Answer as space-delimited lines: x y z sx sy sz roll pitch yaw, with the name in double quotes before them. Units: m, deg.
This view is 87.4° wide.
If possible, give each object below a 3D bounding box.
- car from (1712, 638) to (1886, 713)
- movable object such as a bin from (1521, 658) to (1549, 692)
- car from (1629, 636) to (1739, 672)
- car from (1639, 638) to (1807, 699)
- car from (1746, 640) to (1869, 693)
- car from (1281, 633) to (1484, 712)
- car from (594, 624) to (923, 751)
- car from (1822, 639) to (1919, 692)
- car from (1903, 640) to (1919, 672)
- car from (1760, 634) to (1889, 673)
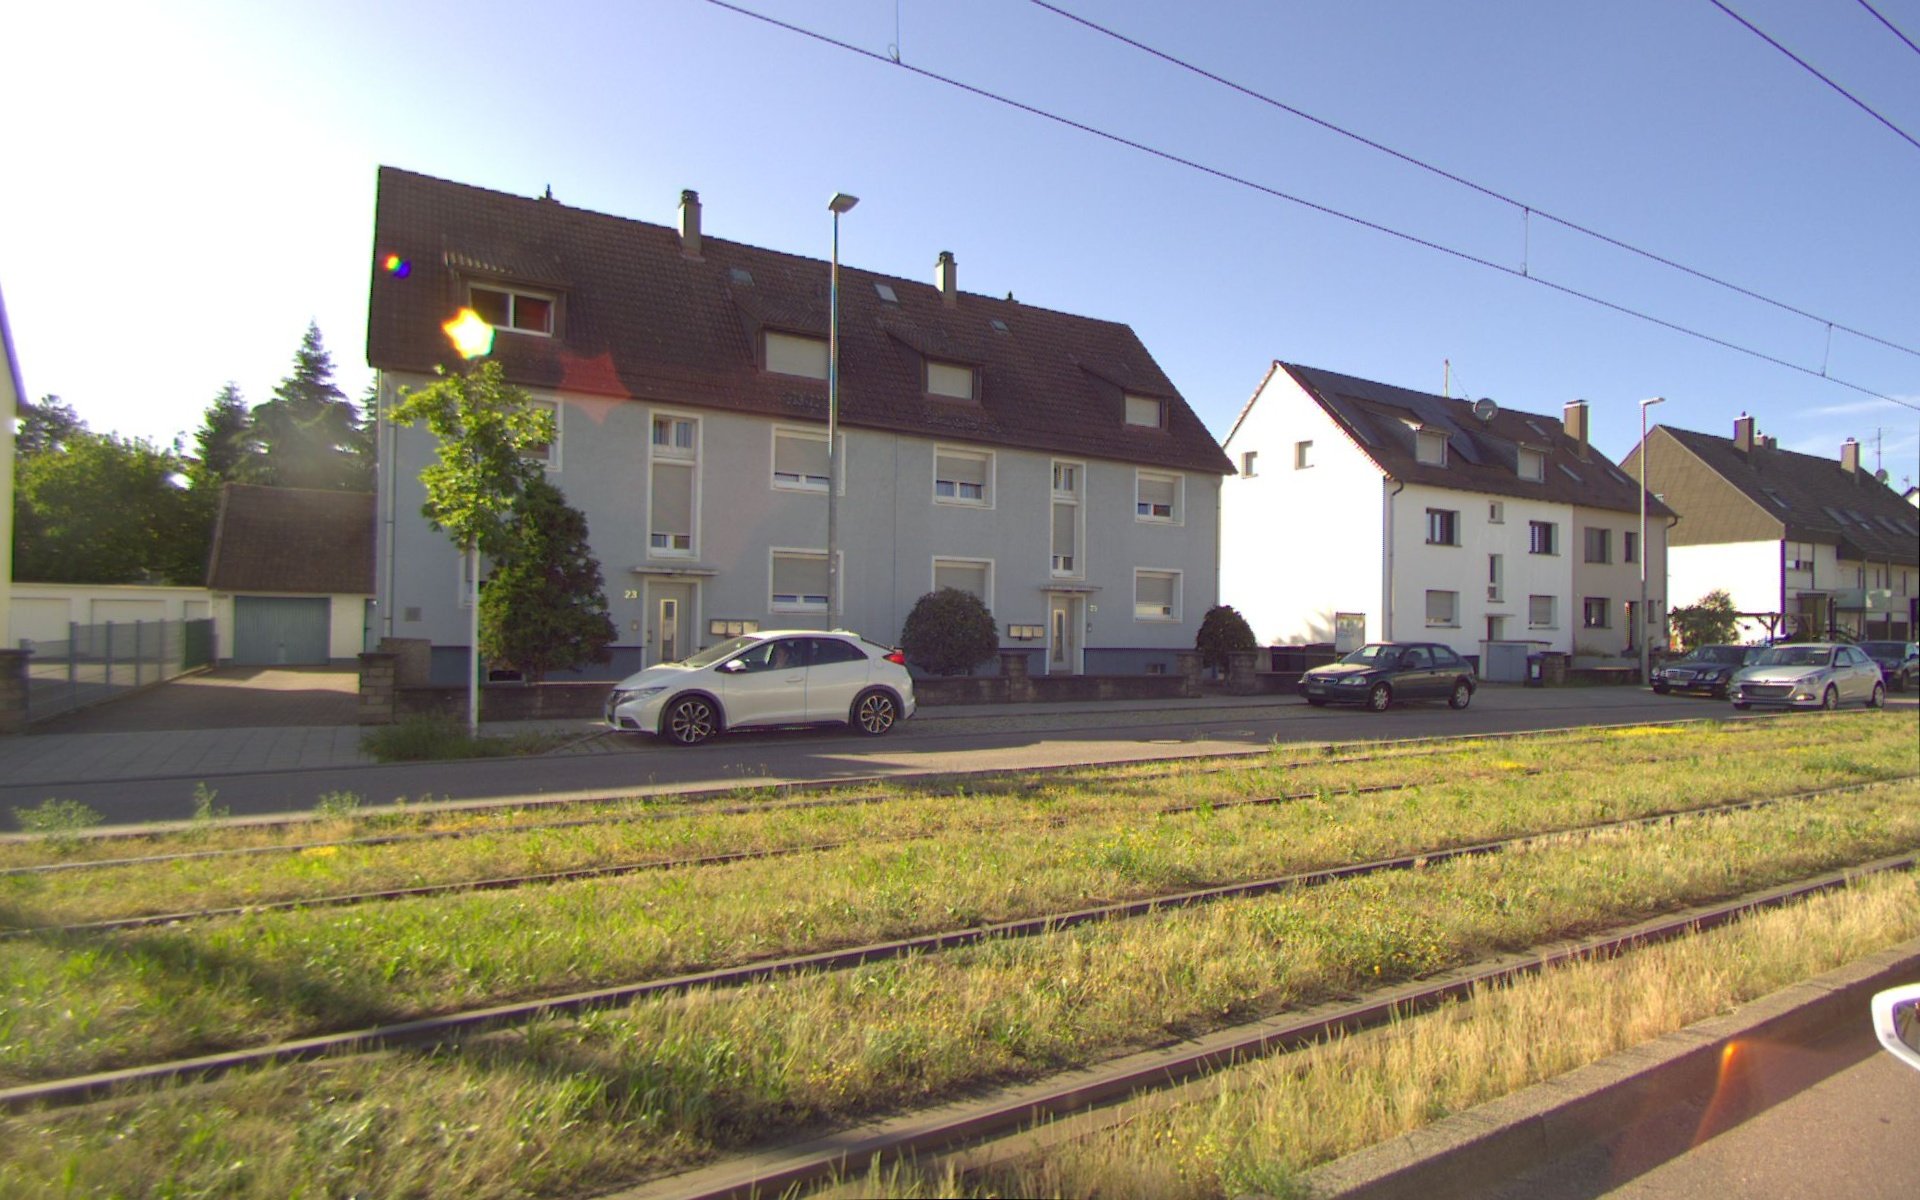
"car" 18.737 1.693 22.410 3.976 1.510 1.701 4 -3 -29
"movable object such as a bin" 16.424 2.130 28.693 0.696 0.939 0.386 3 -3 -31
"car" 36.355 2.686 50.550 1.832 1.676 4.145 1 -2 -26
"car" 21.328 1.878 28.042 4.818 1.543 1.870 2 -1 -27
"car" 25.821 1.996 30.594 4.150 1.494 1.514 1 -1 -29
"car" 8.819 1.455 20.913 4.116 1.482 1.783 2 -2 -29
"car" -2.742 1.135 13.897 4.163 1.538 1.685 2 -2 -29
"car" 30.567 2.127 33.280 4.760 1.618 1.793 2 -2 -33
"car" 49.383 2.813 49.590 1.718 1.588 3.876 2 -2 -36
"car" 39.304 2.388 45.758 1.740 1.638 4.142 2 -2 -33
